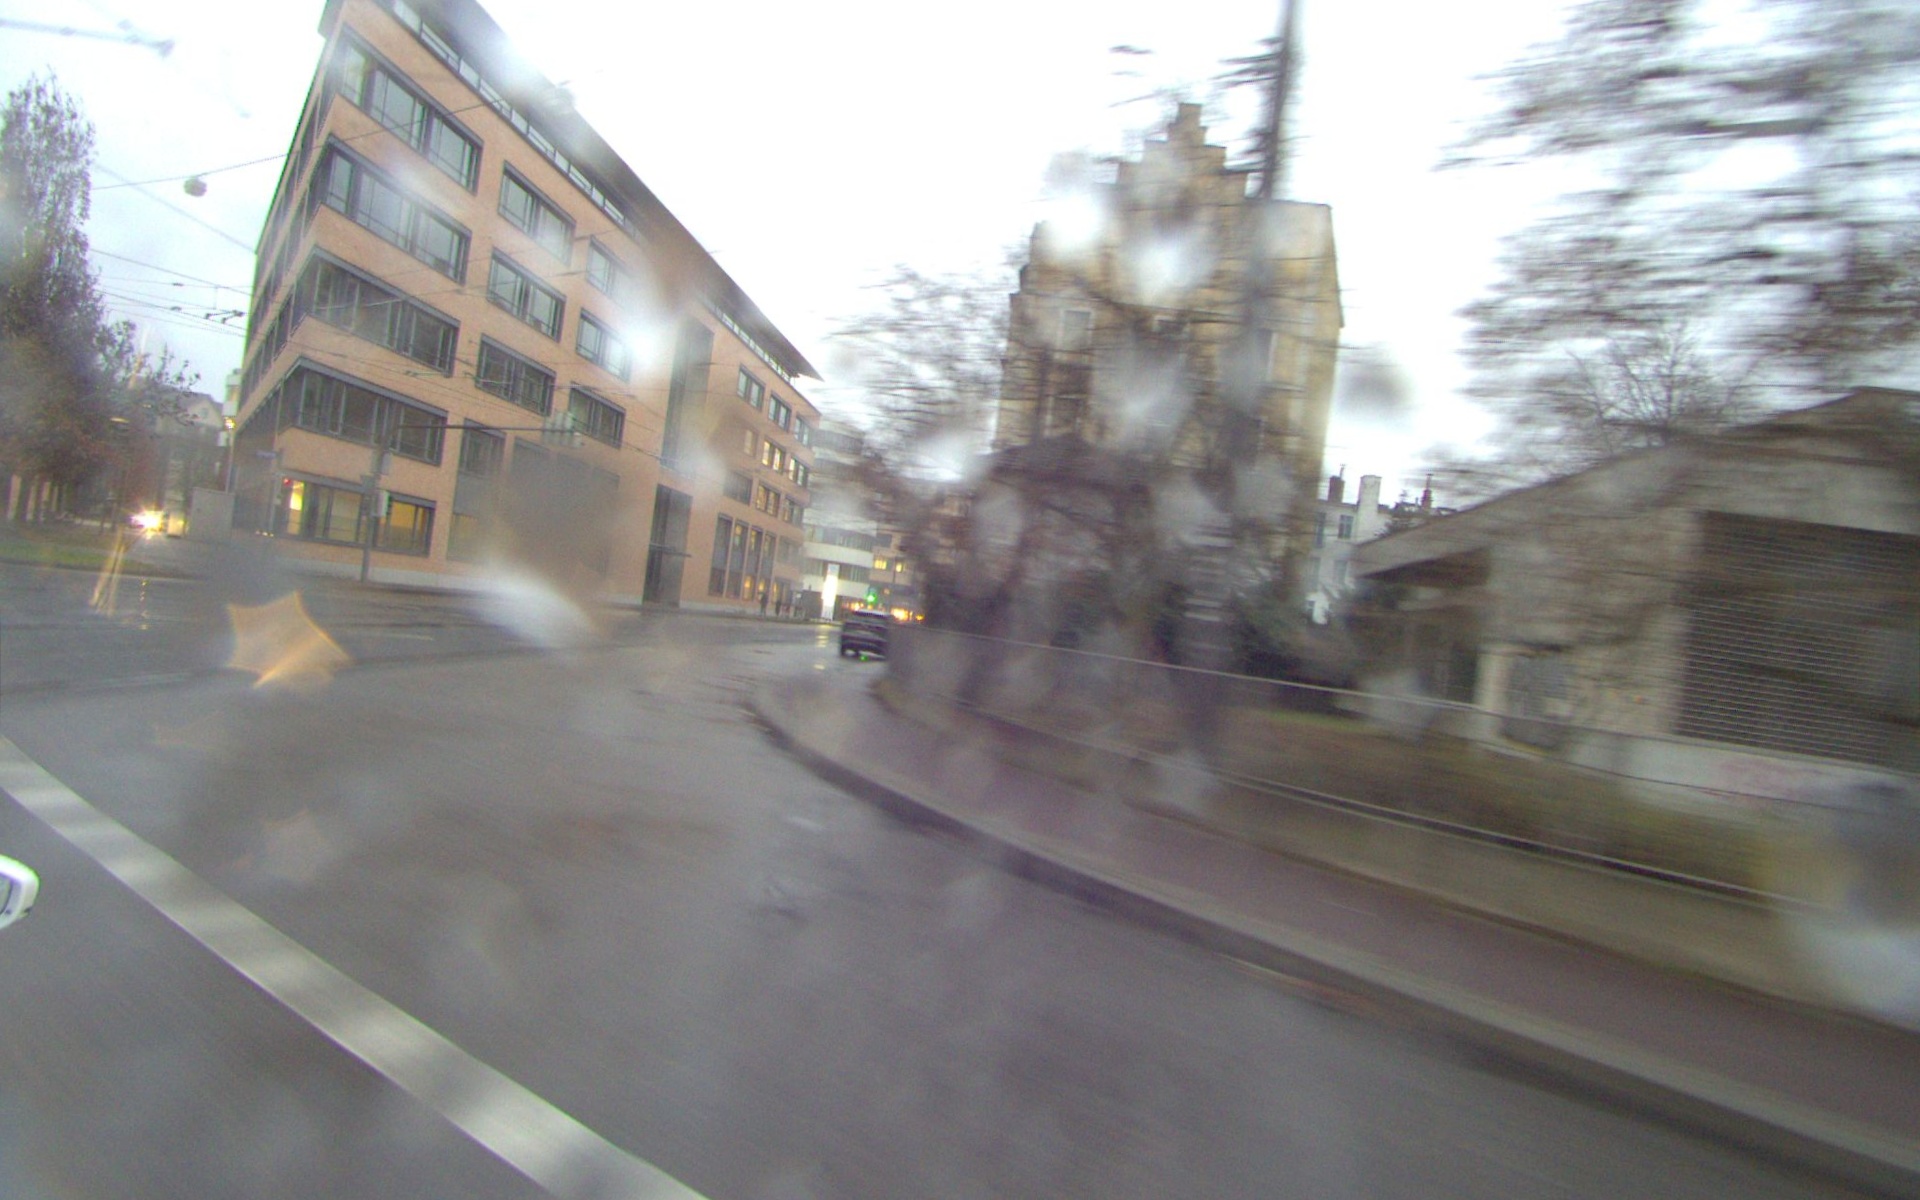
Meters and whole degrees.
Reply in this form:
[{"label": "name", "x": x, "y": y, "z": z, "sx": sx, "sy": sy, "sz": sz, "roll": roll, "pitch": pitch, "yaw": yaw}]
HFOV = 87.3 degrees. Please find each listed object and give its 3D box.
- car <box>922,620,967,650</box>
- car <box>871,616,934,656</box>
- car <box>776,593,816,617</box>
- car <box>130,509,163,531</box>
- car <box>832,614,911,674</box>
[{"label": "car", "x": -0.891, "y": 2.061, "z": 59.870, "sx": 1.962, "sy": 1.457, "sz": 4.516, "roll": 8, "pitch": -1, "yaw": 7}, {"label": "car", "x": -2.548, "y": 1.644, "z": 45.839, "sx": 1.962, "sy": 1.457, "sz": 4.516, "roll": 8, "pitch": -1, "yaw": 7}, {"label": "car", "x": -12.810, "y": 0.415, "z": 78.941, "sx": 1.962, "sy": 1.457, "sz": 3.929, "roll": 8, "pitch": -1, "yaw": 6}, {"label": "car", "x": -57.074, "y": -5.632, "z": 70.625, "sx": 1.660, "sy": 1.195, "sz": 3.668, "roll": 8, "pitch": -1, "yaw": -38}, {"label": "car", "x": -3.002, "y": 1.496, "z": 35.037, "sx": 1.963, "sy": 1.689, "sz": 4.514, "roll": 8, "pitch": -1, "yaw": 3}]
